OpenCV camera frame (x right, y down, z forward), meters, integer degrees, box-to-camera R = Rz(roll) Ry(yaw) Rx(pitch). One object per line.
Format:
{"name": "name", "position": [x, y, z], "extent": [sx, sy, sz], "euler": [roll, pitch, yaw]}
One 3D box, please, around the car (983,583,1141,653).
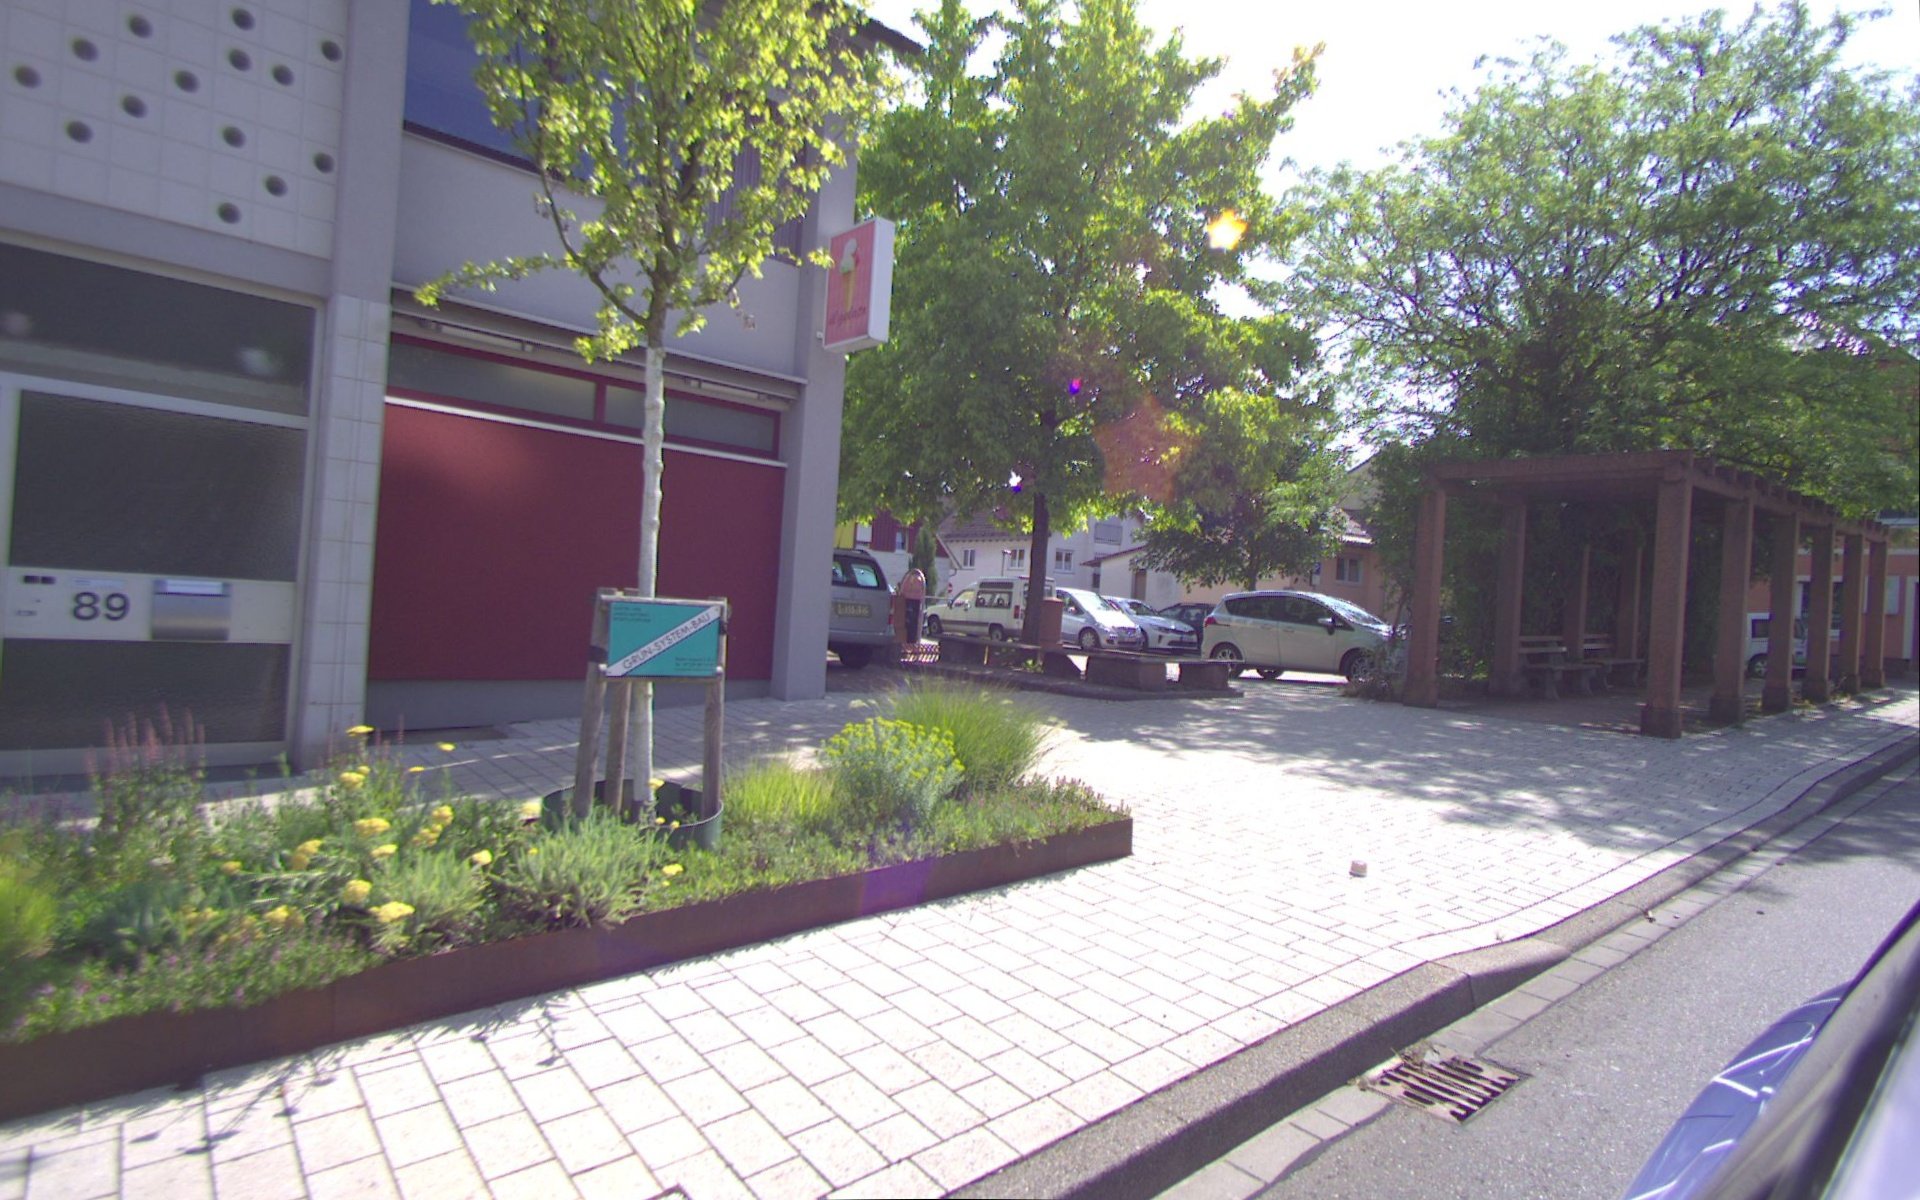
{"name": "car", "position": [2.615, 0.432, 26.573], "extent": [1.726, 1.632, 3.978], "euler": [2, 0, -42]}

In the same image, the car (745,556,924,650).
{"name": "car", "position": [-2.813, 0.017, 21.991], "extent": [1.877, 1.728, 3.996], "euler": [5, -1, -40]}

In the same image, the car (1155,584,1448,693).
{"name": "car", "position": [5.685, 0.569, 17.299], "extent": [1.695, 1.564, 4.487], "euler": [2, 0, -42]}

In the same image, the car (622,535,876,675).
{"name": "car", "position": [-2.822, 0.030, 12.991], "extent": [1.693, 1.529, 3.707], "euler": [2, 0, -38]}

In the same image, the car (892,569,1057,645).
{"name": "car", "position": [0.284, 0.134, 25.842], "extent": [1.851, 1.762, 4.181], "euler": [2, 0, -42]}

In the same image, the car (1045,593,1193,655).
{"name": "car", "position": [4.339, 0.630, 28.060], "extent": [1.626, 1.509, 3.877], "euler": [2, 0, -42]}

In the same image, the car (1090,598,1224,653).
{"name": "car", "position": [5.919, 0.740, 30.762], "extent": [1.494, 1.449, 3.877], "euler": [2, 0, -42]}

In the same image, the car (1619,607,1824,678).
{"name": "car", "position": [20.755, 1.186, 27.738], "extent": [1.778, 1.777, 4.098], "euler": [2, -4, -35]}
